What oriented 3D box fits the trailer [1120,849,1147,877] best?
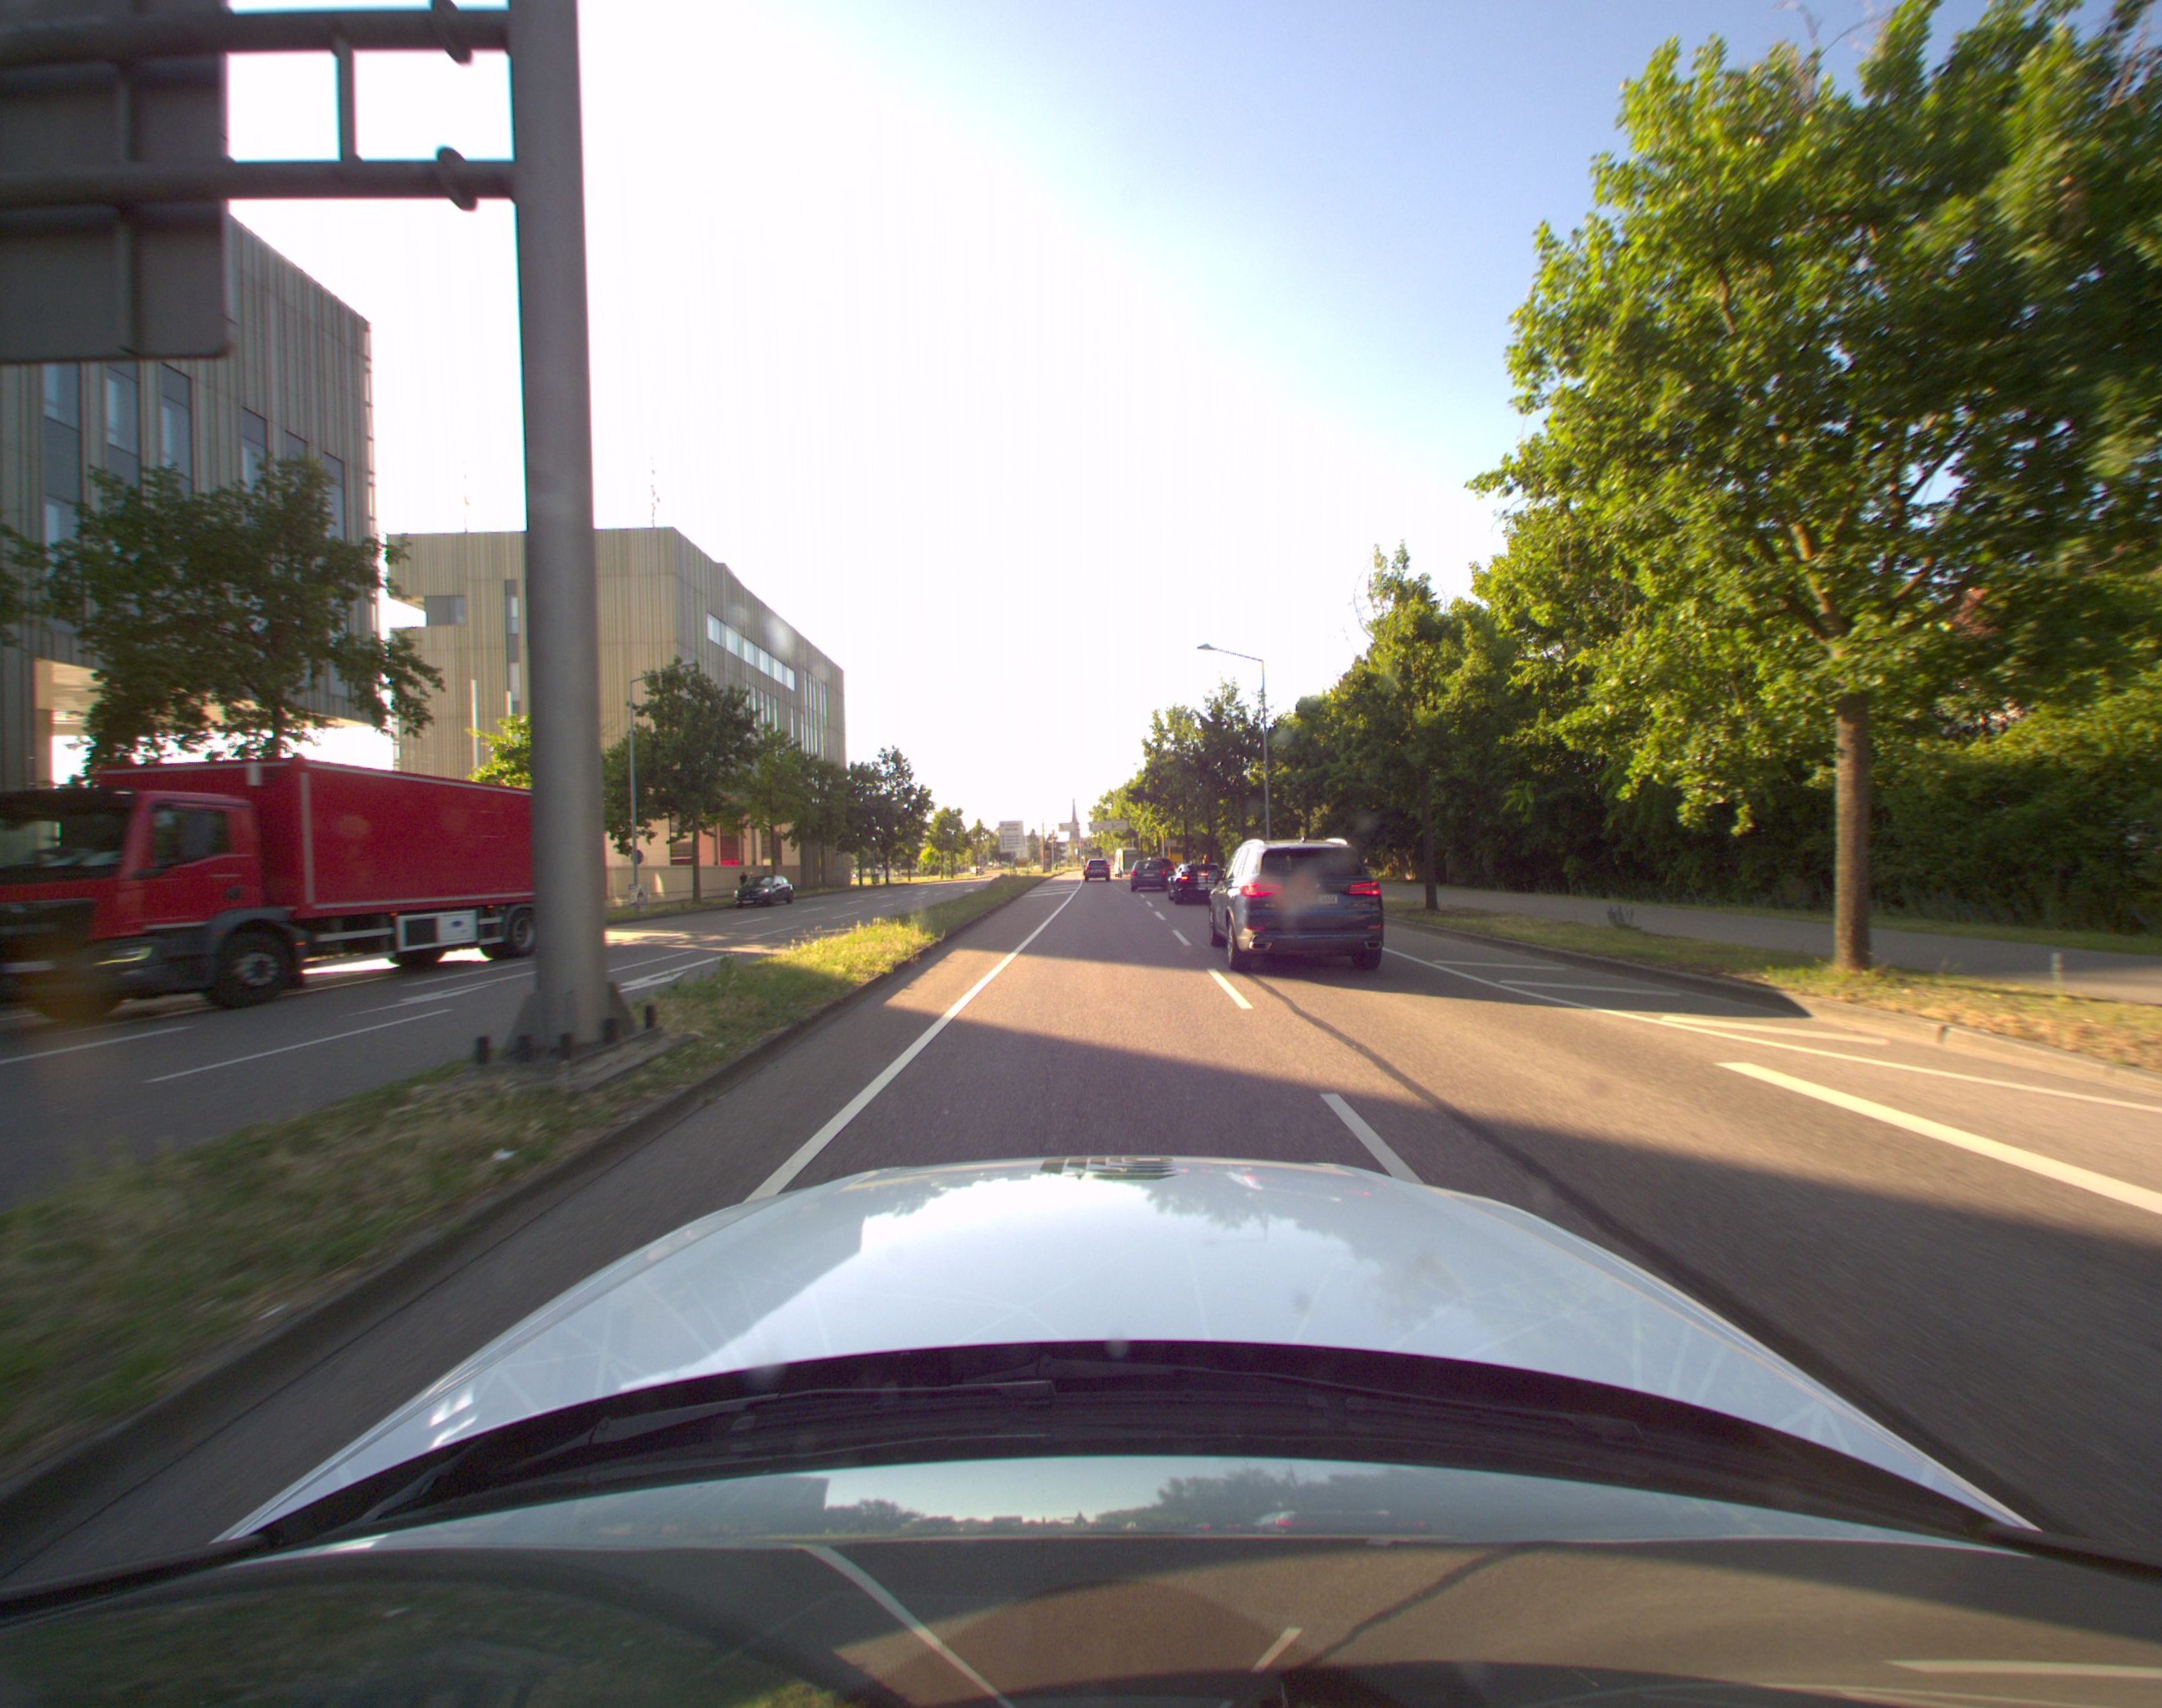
[{"bbox_3d":[4.489,0.771,70.383,2.083,2.400,3.500,-1,-1,0],"label":"trailer"}]

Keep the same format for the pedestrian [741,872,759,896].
[{"bbox_3d":[-22.613,2.055,55.659,0.773,1.601,0.909,-2,-1,0],"label":"pedestrian"}]

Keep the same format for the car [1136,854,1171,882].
[{"bbox_3d":[4.336,0.850,49.316,1.742,1.621,3.818,-1,-1,0],"label":"car"}]

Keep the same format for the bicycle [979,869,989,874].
[{"bbox_3d":[-20.658,3.678,173.408,1.898,1.019,0.505,-2,-1,6],"label":"bicycle"}]

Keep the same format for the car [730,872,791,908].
[{"bbox_3d":[-15.266,1.668,38.983,1.593,1.512,3.860,-2,0,-5],"label":"car"}]

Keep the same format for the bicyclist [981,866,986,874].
[{"bbox_3d":[-20.611,3.345,171.942,0.807,1.771,0.498,-1,-1,14],"label":"bicyclist"}]

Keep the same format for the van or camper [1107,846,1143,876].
[{"bbox_3d":[4.048,0.669,76.315,2.282,2.629,6.568,-1,-1,-6],"label":"van or camper"}]

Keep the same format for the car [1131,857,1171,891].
[{"bbox_3d":[3.292,0.902,38.722,1.740,1.473,3.823,-2,-1,3],"label":"car"}]

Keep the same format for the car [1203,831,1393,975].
[{"bbox_3d":[2.988,0.649,12.269,1.946,1.727,4.705,-1,-1,5],"label":"car"}]

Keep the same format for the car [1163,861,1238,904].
[{"bbox_3d":[4.009,0.920,27.951,1.849,1.338,4.623,-1,-1,-1],"label":"car"}]

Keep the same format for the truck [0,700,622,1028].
[{"bbox_3d":[-12.589,0.164,14.651,2.990,3.811,10.083,-2,0,-1],"label":"truck"}]

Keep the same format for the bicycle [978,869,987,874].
[{"bbox_3d":[-20.802,3.777,171.991,1.894,1.020,0.506,-1,-1,14],"label":"bicycle"}]

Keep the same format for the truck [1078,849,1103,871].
[{"bbox_3d":[1.119,0.750,99.853,2.575,2.558,6.243,-2,-1,-4],"label":"truck"}]

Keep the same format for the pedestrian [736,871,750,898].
[{"bbox_3d":[-23.430,2.099,56.484,0.630,1.841,0.716,-2,-1,0],"label":"pedestrian"}]

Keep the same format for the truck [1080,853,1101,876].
[{"bbox_3d":[1.148,1.289,99.109,2.214,2.651,4.769,-2,-1,-2],"label":"truck"}]

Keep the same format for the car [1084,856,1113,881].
[{"bbox_3d":[1.222,1.022,58.641,1.899,1.660,3.999,-2,-1,0],"label":"car"}]

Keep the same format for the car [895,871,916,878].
[{"bbox_3d":[-40.369,4.694,187.280,4.333,1.508,1.852,-2,-1,-43],"label":"car"}]
